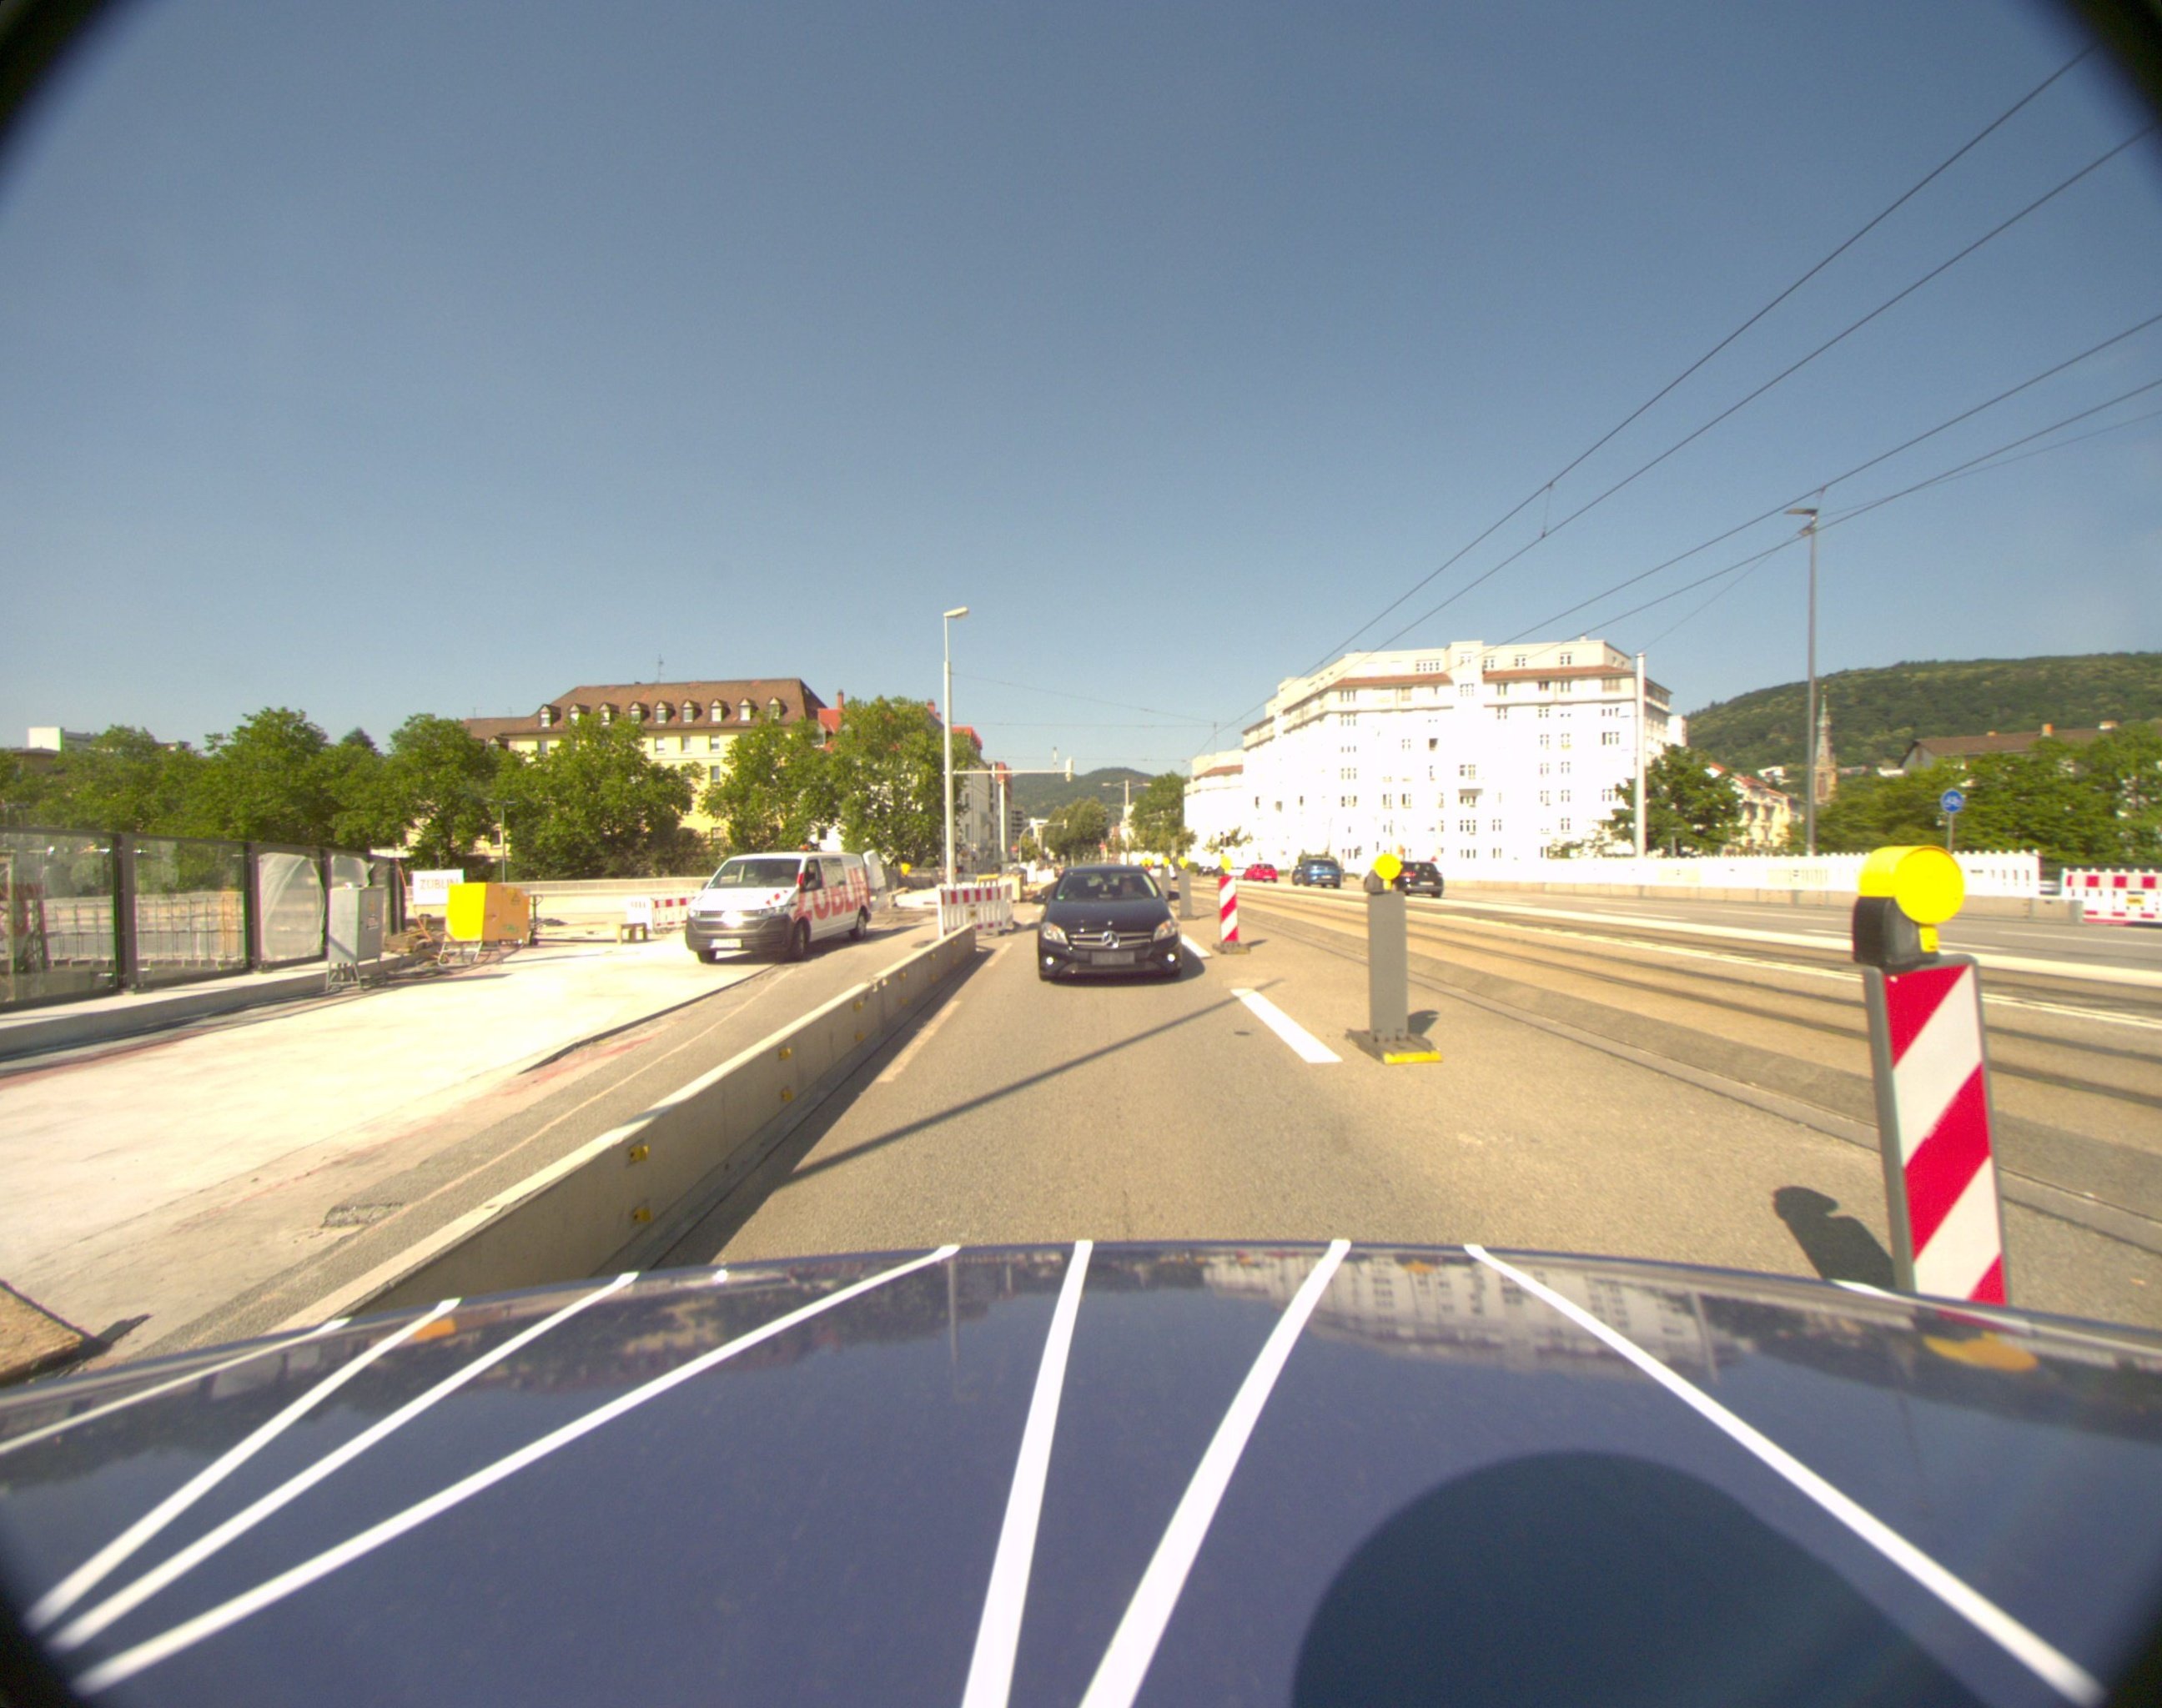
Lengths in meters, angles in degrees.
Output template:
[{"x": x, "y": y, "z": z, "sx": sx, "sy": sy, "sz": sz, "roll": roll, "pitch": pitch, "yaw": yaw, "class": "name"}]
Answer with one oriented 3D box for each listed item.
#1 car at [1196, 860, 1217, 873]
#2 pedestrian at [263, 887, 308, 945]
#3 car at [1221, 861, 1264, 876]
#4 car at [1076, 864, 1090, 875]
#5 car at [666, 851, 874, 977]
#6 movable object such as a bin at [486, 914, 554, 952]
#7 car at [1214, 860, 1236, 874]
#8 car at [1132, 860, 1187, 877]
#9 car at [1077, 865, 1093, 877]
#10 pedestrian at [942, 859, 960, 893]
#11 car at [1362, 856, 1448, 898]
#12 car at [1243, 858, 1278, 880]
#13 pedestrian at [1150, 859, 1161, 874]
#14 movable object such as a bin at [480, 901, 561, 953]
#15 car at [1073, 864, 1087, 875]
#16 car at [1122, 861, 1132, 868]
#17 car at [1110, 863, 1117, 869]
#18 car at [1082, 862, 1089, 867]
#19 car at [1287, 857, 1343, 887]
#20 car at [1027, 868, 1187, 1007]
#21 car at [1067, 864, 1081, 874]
[{"x": 16.901, "y": 1.699, "z": 102.647, "sx": 1.740, "sy": 1.628, "sz": 3.738, "roll": -1, "pitch": 0, "yaw": -7, "class": "car"}, {"x": -33.151, "y": 2.559, "z": 31.683, "sx": 0.878, "sy": 2.319, "sz": 0.797, "roll": -6, "pitch": 1, "yaw": -25, "class": "pedestrian"}, {"x": 16.617, "y": 1.489, "z": 78.252, "sx": 1.705, "sy": 1.403, "sz": 4.475, "roll": 0, "pitch": 0, "yaw": -31, "class": "car"}, {"x": 0.232, "y": 1.951, "z": 96.588, "sx": 1.767, "sy": 1.346, "sz": 4.000, "roll": -2, "pitch": -1, "yaw": -1, "class": "car"}, {"x": -5.810, "y": 0.993, "z": 14.990, "sx": 1.883, "sy": 2.021, "sz": 4.891, "roll": -2, "pitch": 0, "yaw": 2, "class": "car"}, {"x": -13.252, "y": 1.852, "z": 17.960, "sx": 0.754, "sy": 0.837, "sz": 1.107, "roll": -1, "pitch": -3, "yaw": 40, "class": "movable object such as a bin"}, {"x": 17.815, "y": 1.584, "z": 93.927, "sx": 1.740, "sy": 1.628, "sz": 3.739, "roll": -1, "pitch": 0, "yaw": -5, "class": "car"}, {"x": 6.841, "y": 1.257, "z": 66.604, "sx": 4.629, "sy": 1.429, "sz": 1.647, "roll": 0, "pitch": 0, "yaw": 40, "class": "car"}, {"x": 0.506, "y": 1.926, "z": 89.018, "sx": 1.767, "sy": 1.313, "sz": 4.001, "roll": -2, "pitch": -1, "yaw": 1, "class": "car"}, {"x": -6.982, "y": 1.173, "z": 40.884, "sx": 0.821, "sy": 1.784, "sz": 0.864, "roll": 1, "pitch": 0, "yaw": -1, "class": "pedestrian"}, {"x": 12.320, "y": 0.842, "z": 29.177, "sx": 1.509, "sy": 1.491, "sz": 4.177, "roll": 1, "pitch": 0, "yaw": 0, "class": "car"}, {"x": 13.045, "y": 1.086, "z": 55.461, "sx": 1.537, "sy": 1.429, "sz": 3.980, "roll": 4, "pitch": 0, "yaw": 0, "class": "car"}, {"x": 8.352, "y": 1.378, "z": 85.401, "sx": 1.003, "sy": 1.697, "sz": 0.822, "roll": -1, "pitch": 1, "yaw": -7, "class": "pedestrian"}, {"x": -14.224, "y": 1.856, "z": 19.261, "sx": 2.038, "sy": 1.123, "sz": 0.609, "roll": -5, "pitch": 1, "yaw": 23, "class": "movable object such as a bin"}, {"x": -0.183, "y": 2.103, "z": 102.224, "sx": 1.767, "sy": 1.346, "sz": 4.000, "roll": -2, "pitch": -1, "yaw": -2, "class": "car"}, {"x": 10.581, "y": 2.485, "z": 175.175, "sx": 1.740, "sy": 1.475, "sz": 3.739, "roll": -1, "pitch": 0, "yaw": -5, "class": "car"}, {"x": 8.676, "y": 3.144, "z": 203.200, "sx": 1.739, "sy": 1.475, "sz": 3.739, "roll": -1, "pitch": 0, "yaw": -3, "class": "car"}, {"x": 1.405, "y": 2.968, "z": 222.910, "sx": 1.798, "sy": 1.475, "sz": 3.739, "roll": -1, "pitch": 0, "yaw": -3, "class": "car"}, {"x": 12.670, "y": 0.970, "z": 41.368, "sx": 1.674, "sy": 1.541, "sz": 4.556, "roll": 0, "pitch": 0, "yaw": 0, "class": "car"}, {"x": 0.371, "y": 0.961, "z": 10.649, "sx": 1.702, "sy": 1.399, "sz": 4.623, "roll": -3, "pitch": 0, "yaw": 2, "class": "car"}, {"x": -1.049, "y": 2.082, "z": 108.641, "sx": 1.767, "sy": 1.346, "sz": 3.999, "roll": -2, "pitch": -1, "yaw": -4, "class": "car"}]
